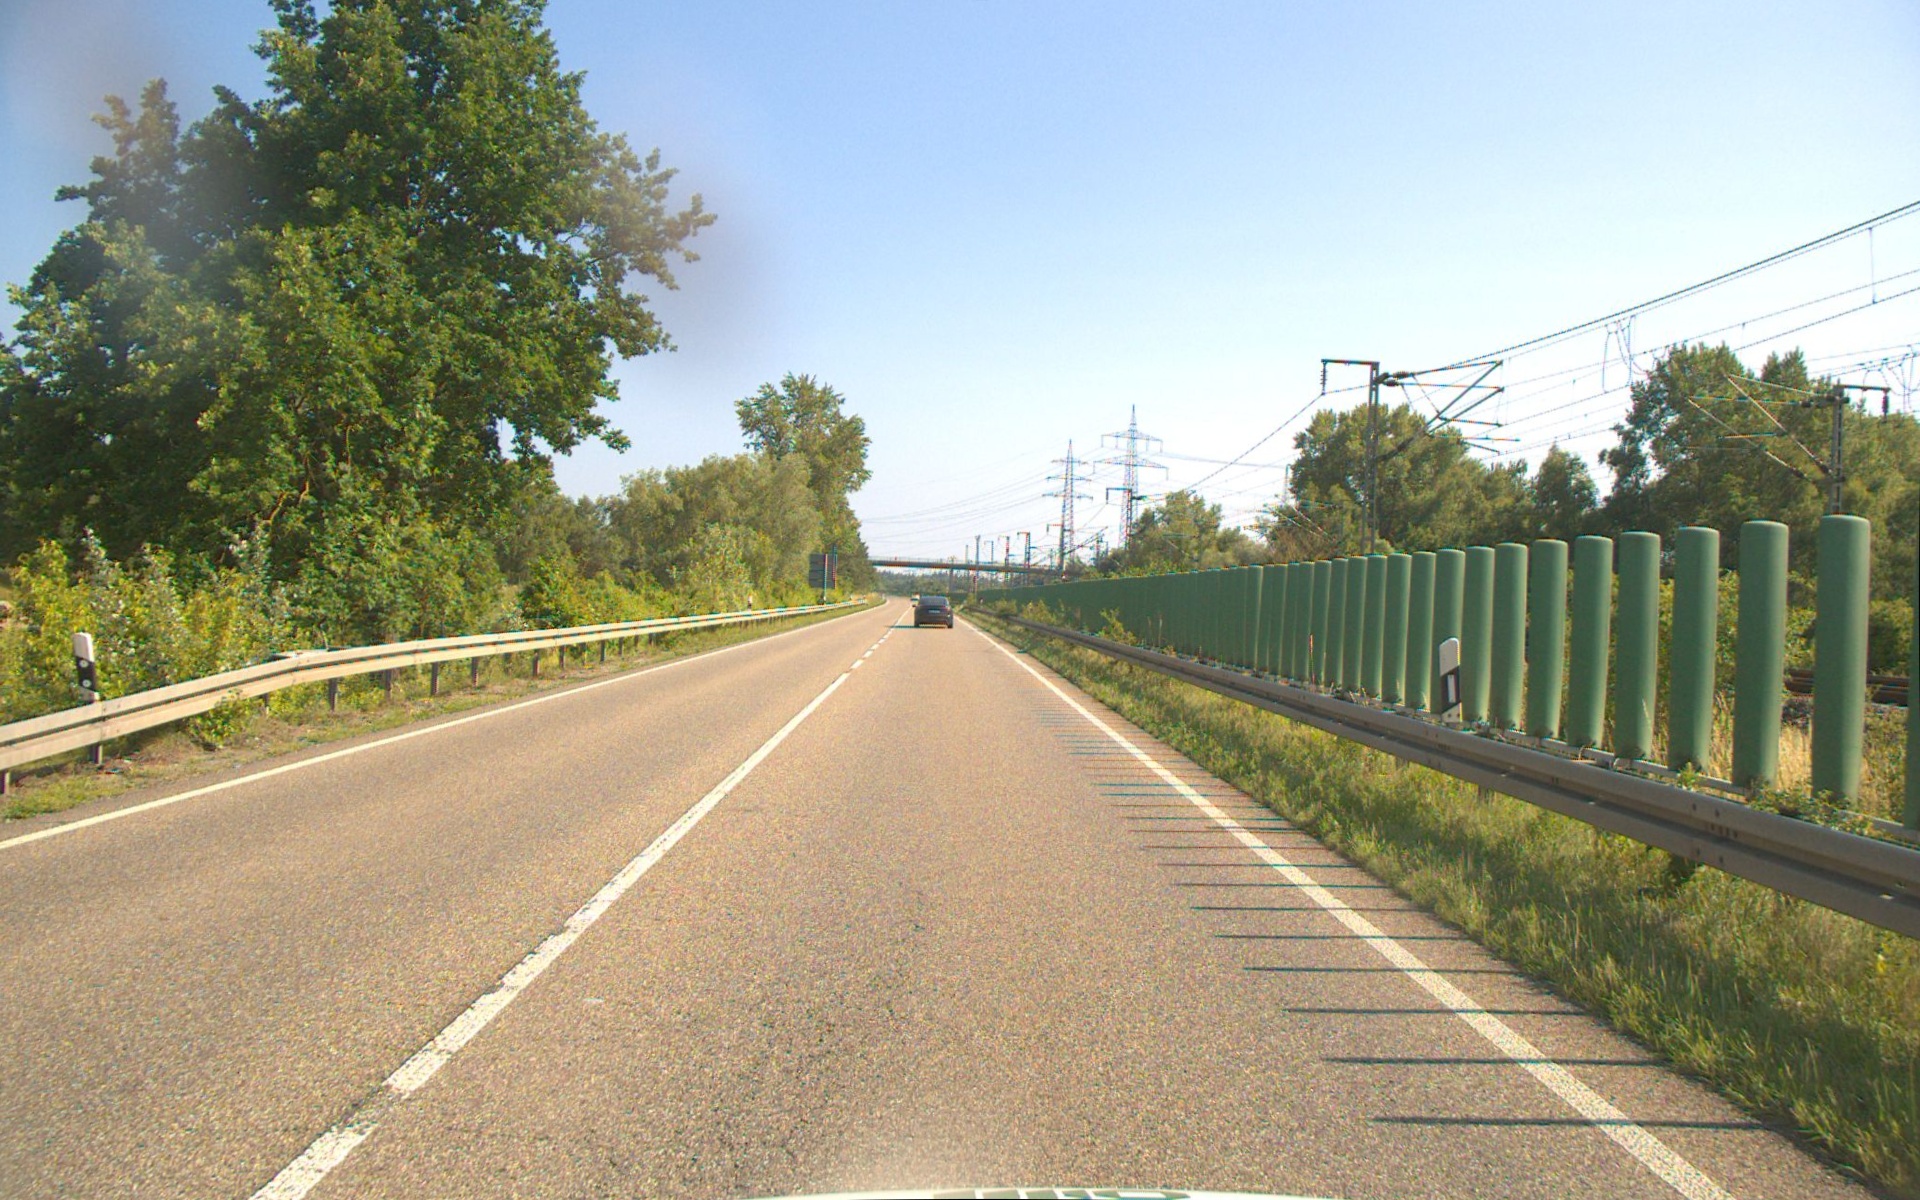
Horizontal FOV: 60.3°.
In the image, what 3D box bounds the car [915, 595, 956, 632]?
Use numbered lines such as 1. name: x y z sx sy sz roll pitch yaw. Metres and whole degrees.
1. car: -1.160 0.610 77.544 1.821 1.670 3.998 0 0 -2
